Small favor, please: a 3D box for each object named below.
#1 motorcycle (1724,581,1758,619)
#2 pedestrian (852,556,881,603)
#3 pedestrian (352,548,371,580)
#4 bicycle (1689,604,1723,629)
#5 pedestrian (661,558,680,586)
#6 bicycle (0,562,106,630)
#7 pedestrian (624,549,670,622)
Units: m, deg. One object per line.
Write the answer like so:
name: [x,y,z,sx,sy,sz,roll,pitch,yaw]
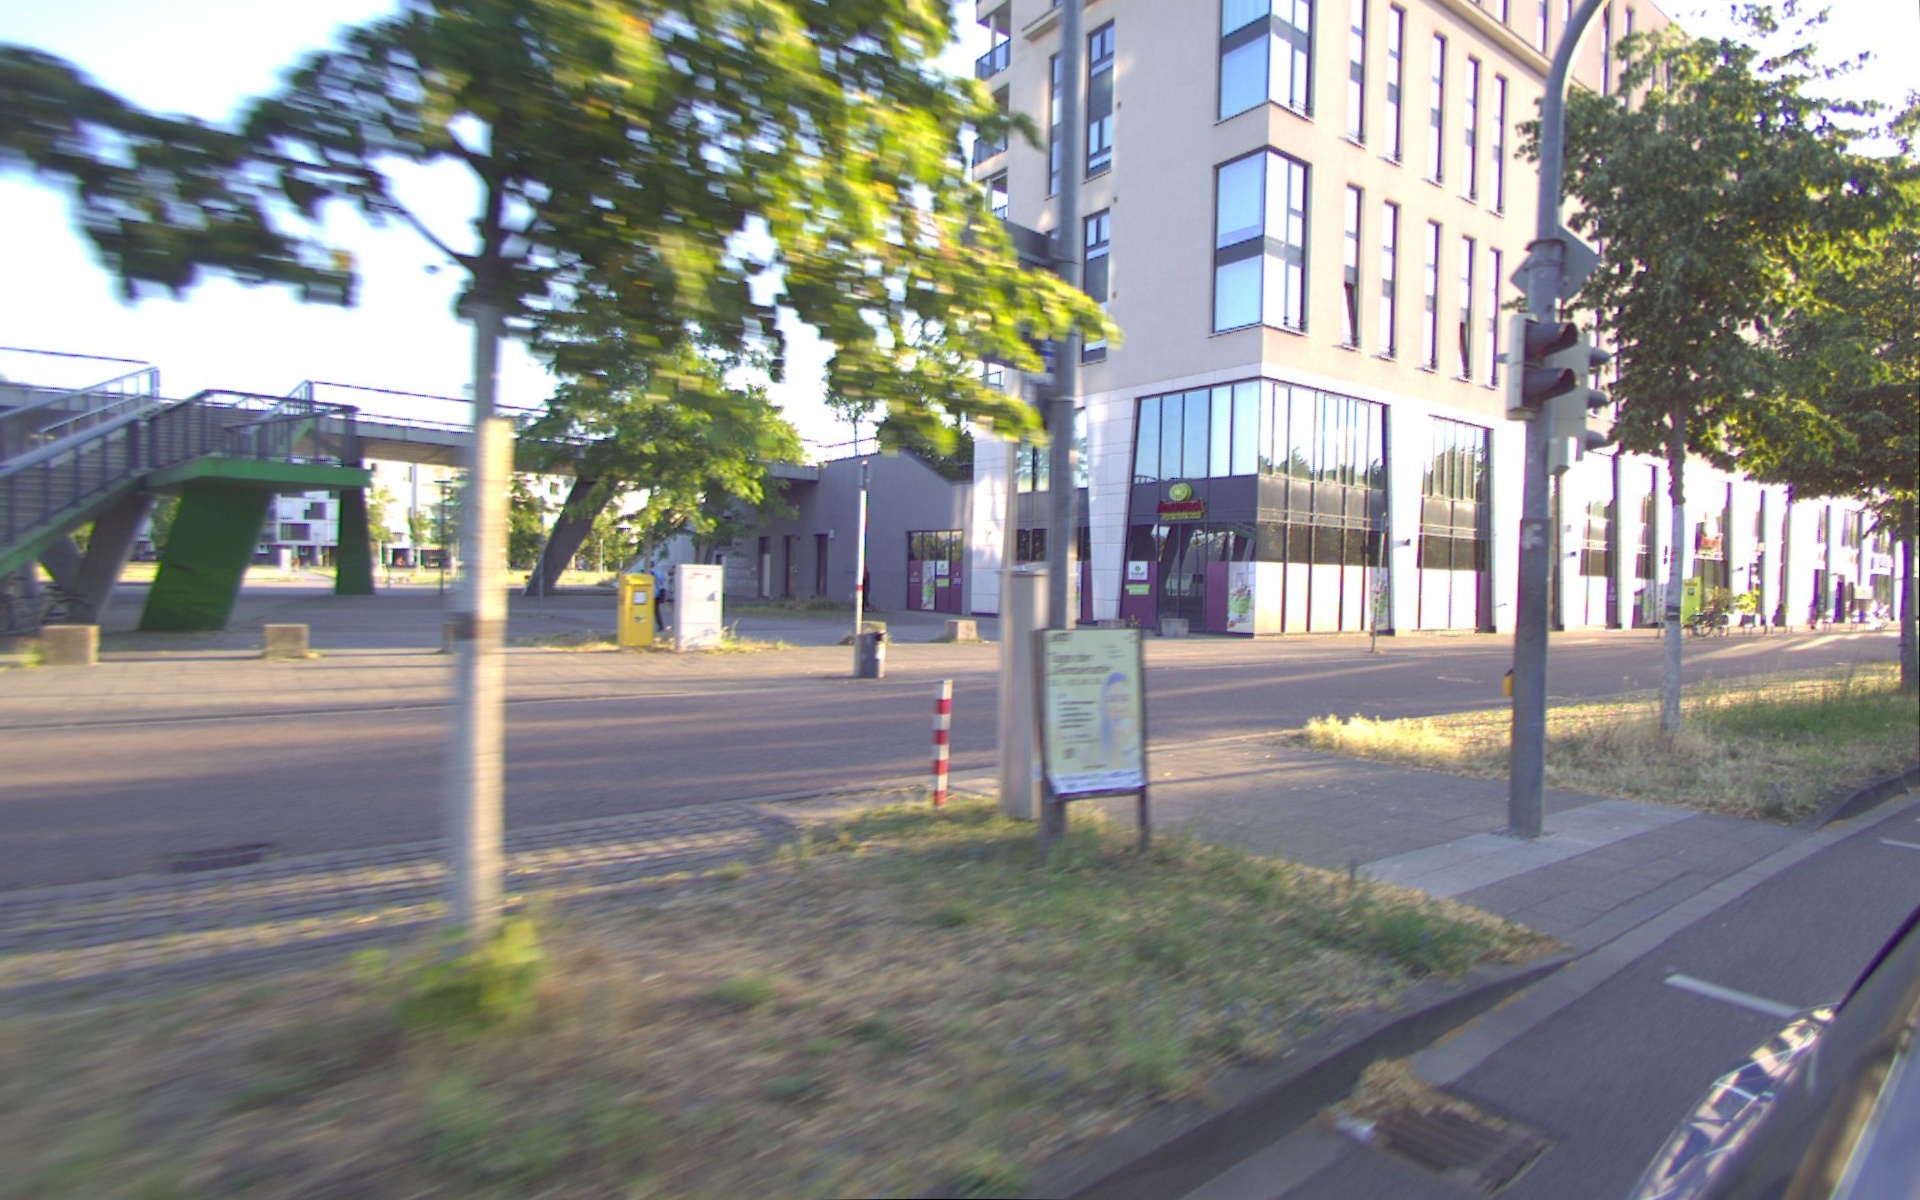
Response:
motorcycle: [36.605,-0.008,47.426,2.084,1.720,0.690,0,1,-38]
pedestrian: [-3.432,-0.764,37.003,0.750,1.703,0.768,1,1,-35]
pedestrian: [-38.863,-2.362,65.749,0.996,2.039,1.144,1,1,-34]
bicycle: [27.126,0.590,36.824,0.539,0.872,1.566,2,1,20]
pedestrian: [-16.708,-1.615,58.445,0.711,1.614,0.790,2,1,28]
bicycle: [-17.646,-0.082,18.955,2.399,1.251,0.734,1,1,-26]
pedestrian: [-8.239,-0.390,26.597,0.824,1.867,0.897,0,1,-43]
